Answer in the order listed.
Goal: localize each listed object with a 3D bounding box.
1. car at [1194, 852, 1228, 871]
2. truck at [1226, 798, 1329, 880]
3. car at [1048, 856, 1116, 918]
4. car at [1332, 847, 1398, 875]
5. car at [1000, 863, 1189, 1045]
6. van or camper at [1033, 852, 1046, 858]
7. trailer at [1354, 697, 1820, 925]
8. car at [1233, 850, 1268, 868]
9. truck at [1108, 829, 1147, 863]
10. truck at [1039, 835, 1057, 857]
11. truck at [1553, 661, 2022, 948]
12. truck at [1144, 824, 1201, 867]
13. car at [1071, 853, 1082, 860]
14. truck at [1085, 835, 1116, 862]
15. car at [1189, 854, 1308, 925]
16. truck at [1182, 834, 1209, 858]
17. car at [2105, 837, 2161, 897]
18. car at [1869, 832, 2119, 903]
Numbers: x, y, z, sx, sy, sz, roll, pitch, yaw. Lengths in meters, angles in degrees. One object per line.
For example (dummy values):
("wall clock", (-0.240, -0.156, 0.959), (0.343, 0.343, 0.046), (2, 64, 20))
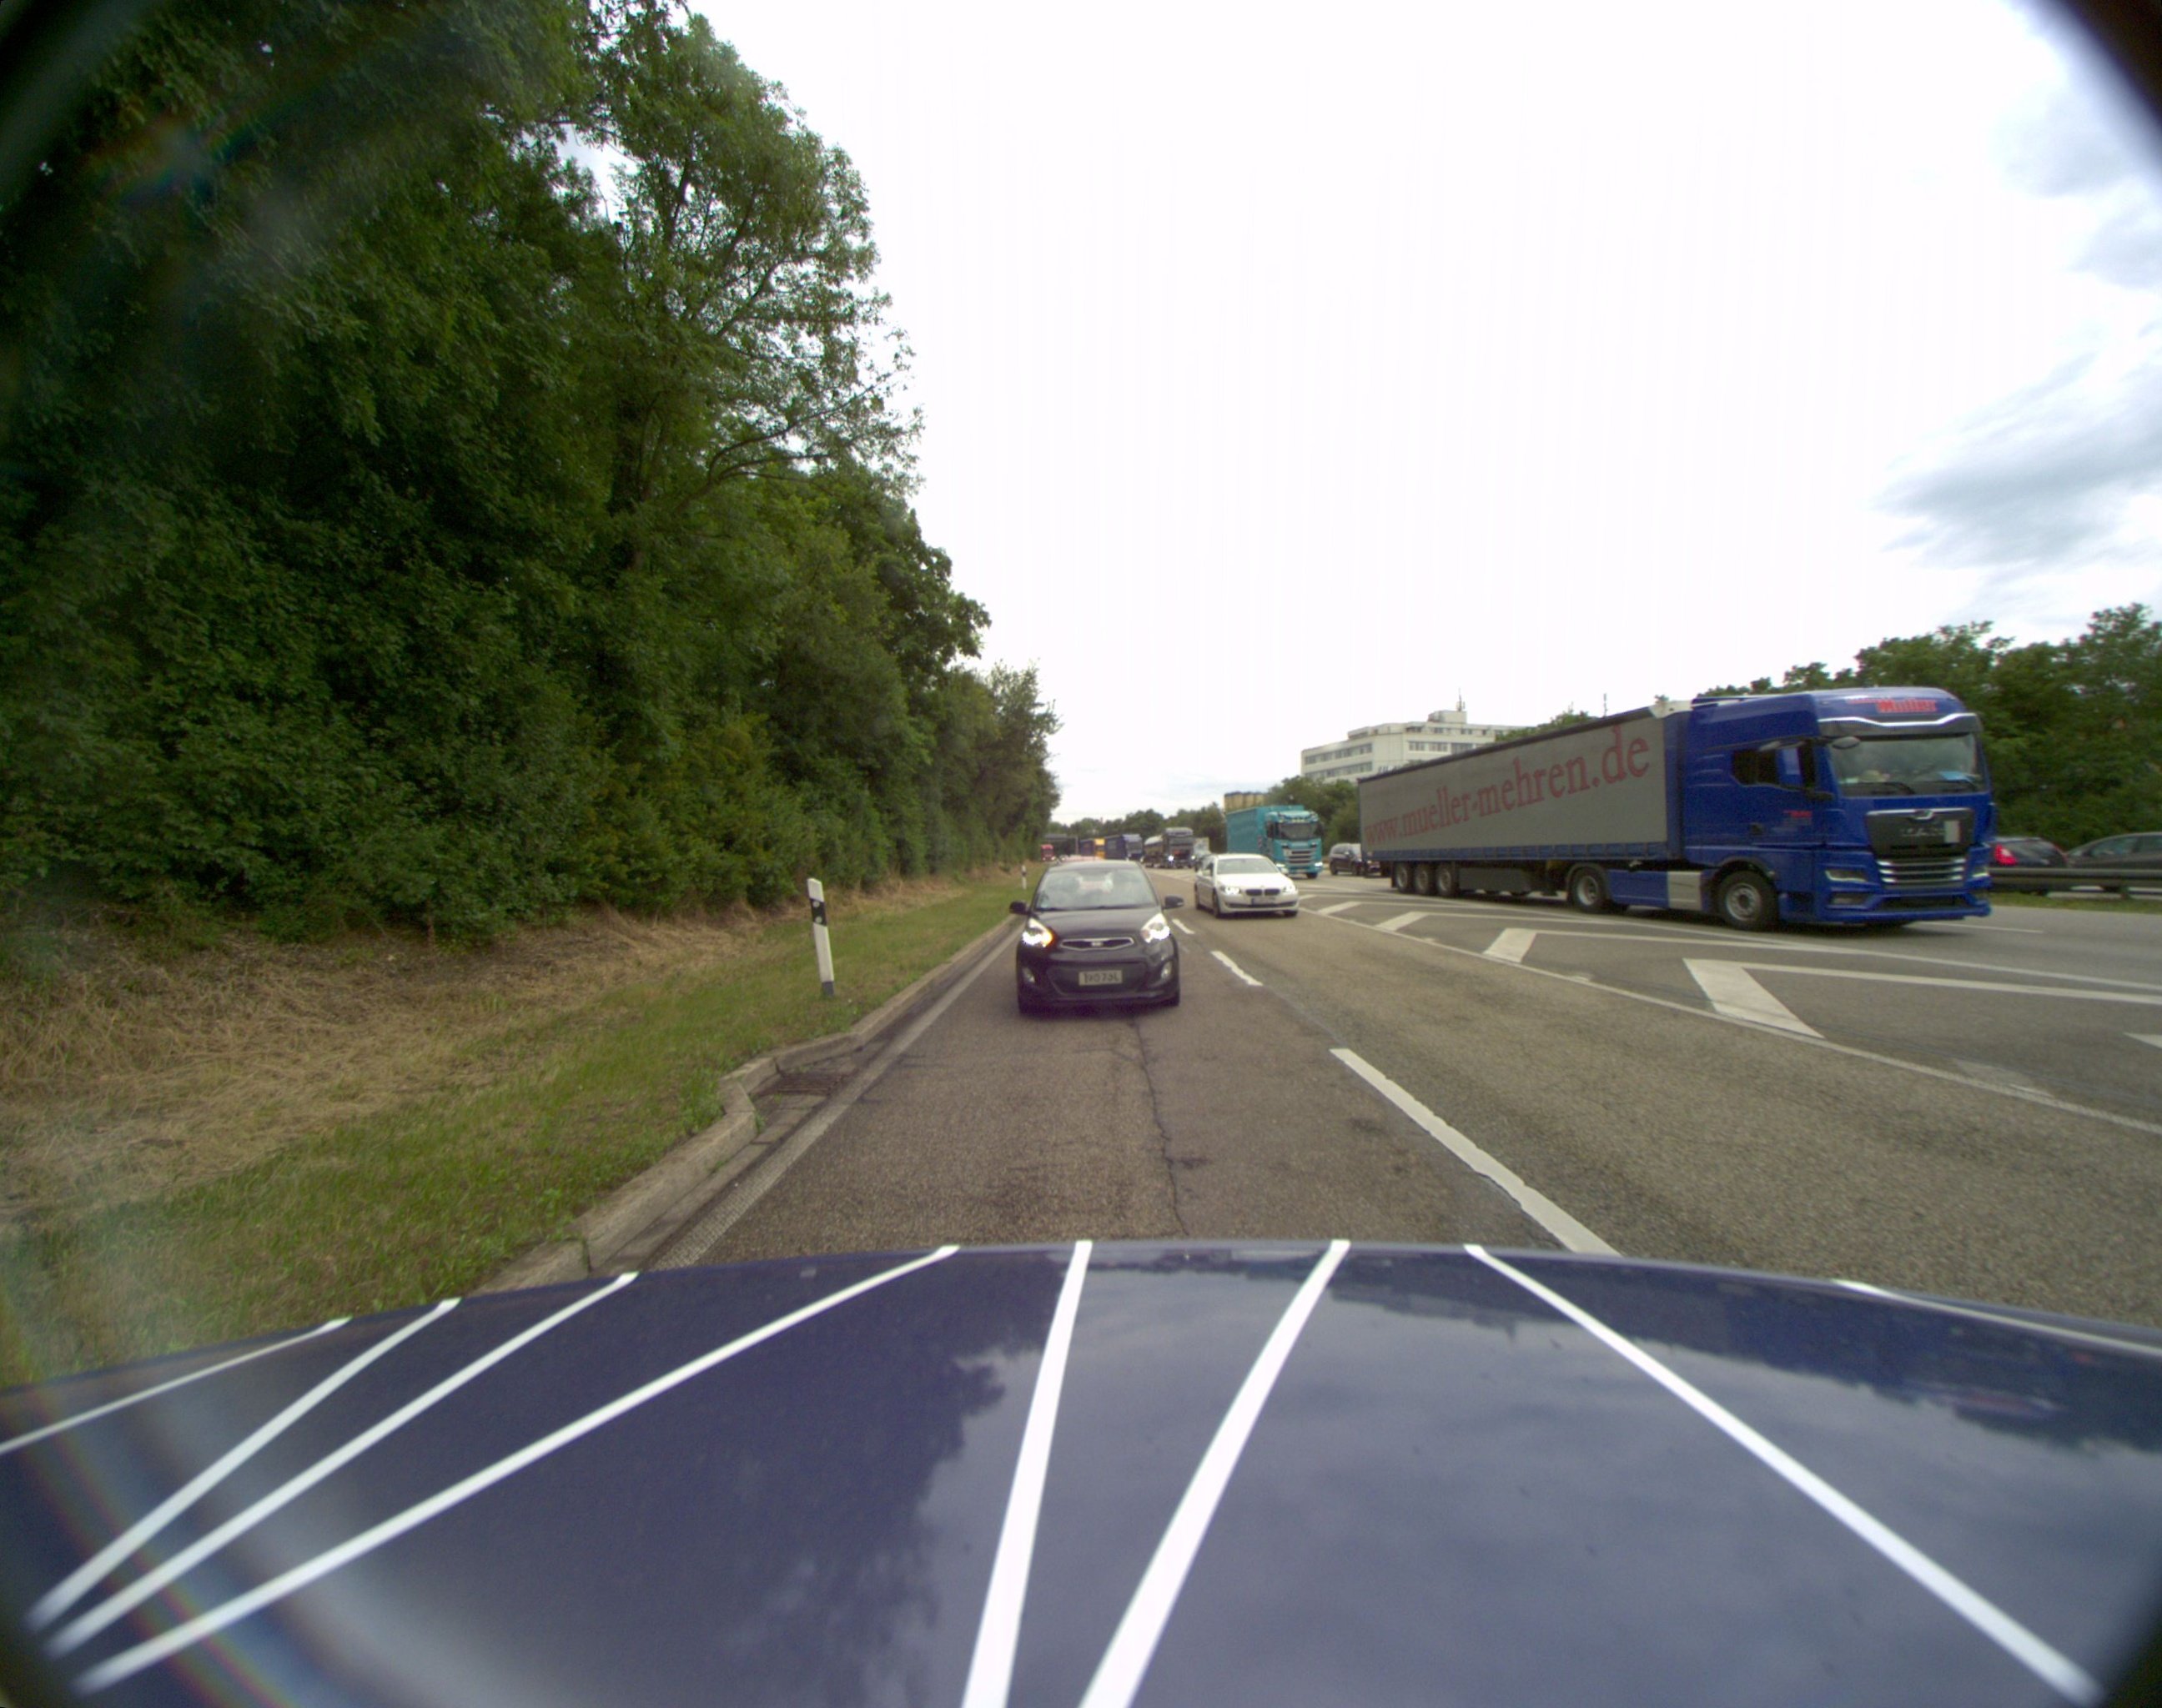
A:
("car", (9.930, 0.562, 58.319), (1.757, 1.314, 3.999), (-1, 0, -3))
("truck", (10.685, -0.774, 42.611), (2.700, 3.977, 10.122), (-1, 0, -2))
("car", (0.032, 0.815, 20.523), (1.630, 1.492, 3.564), (-1, 0, 0))
("car", (15.112, 0.356, 40.663), (1.898, 1.425, 3.999), (-1, 0, -3))
("car", (0.165, 0.888, 8.557), (1.584, 1.485, 4.000), (-2, 0, 1))
("van or camper", (-9.608, 0.202, 174.501), (2.348, 1.276, 4.468), (-1, 0, -10))
("trailer", (11.431, -0.778, 20.316), (2.680, 3.951, 13.916), (-1, 0, -2))
("car", (14.421, 0.417, 64.766), (1.898, 1.425, 4.054), (-1, 0, -3))
("truck", (6.161, -0.982, 102.987), (2.815, 4.206, 13.998), (-2, 0, -6))
("truck", (-8.129, -1.922, 185.721), (2.848, 5.070, 14.111), (-2, 0, -8))
("truck", (11.703, -0.700, 13.538), (2.676, 3.938, 5.926), (-1, 0, -2))
("truck", (9.040, -0.828, 76.912), (3.328, 3.902, 13.140), (-2, 0, -3))
("car", (-0.945, 0.511, 150.047), (1.636, 1.328, 3.192), (-1, 0, -10))
("truck", (3.188, -0.885, 127.824), (2.848, 4.206, 14.111), (-2, 0, -8))
("car", (3.995, 0.781, 18.969), (1.863, 1.455, 4.884), (-2, 0, 0))
("truck", (18.874, -1.305, 125.552), (2.000, 3.739, 7.540), (-1, 0, -10))
("car", (27.545, 0.315, 18.017), (1.618, 1.473, 3.627), (-1, 0, -2))
("car", (22.899, 0.304, 19.313), (1.801, 1.577, 3.746), (-1, 0, -2))
